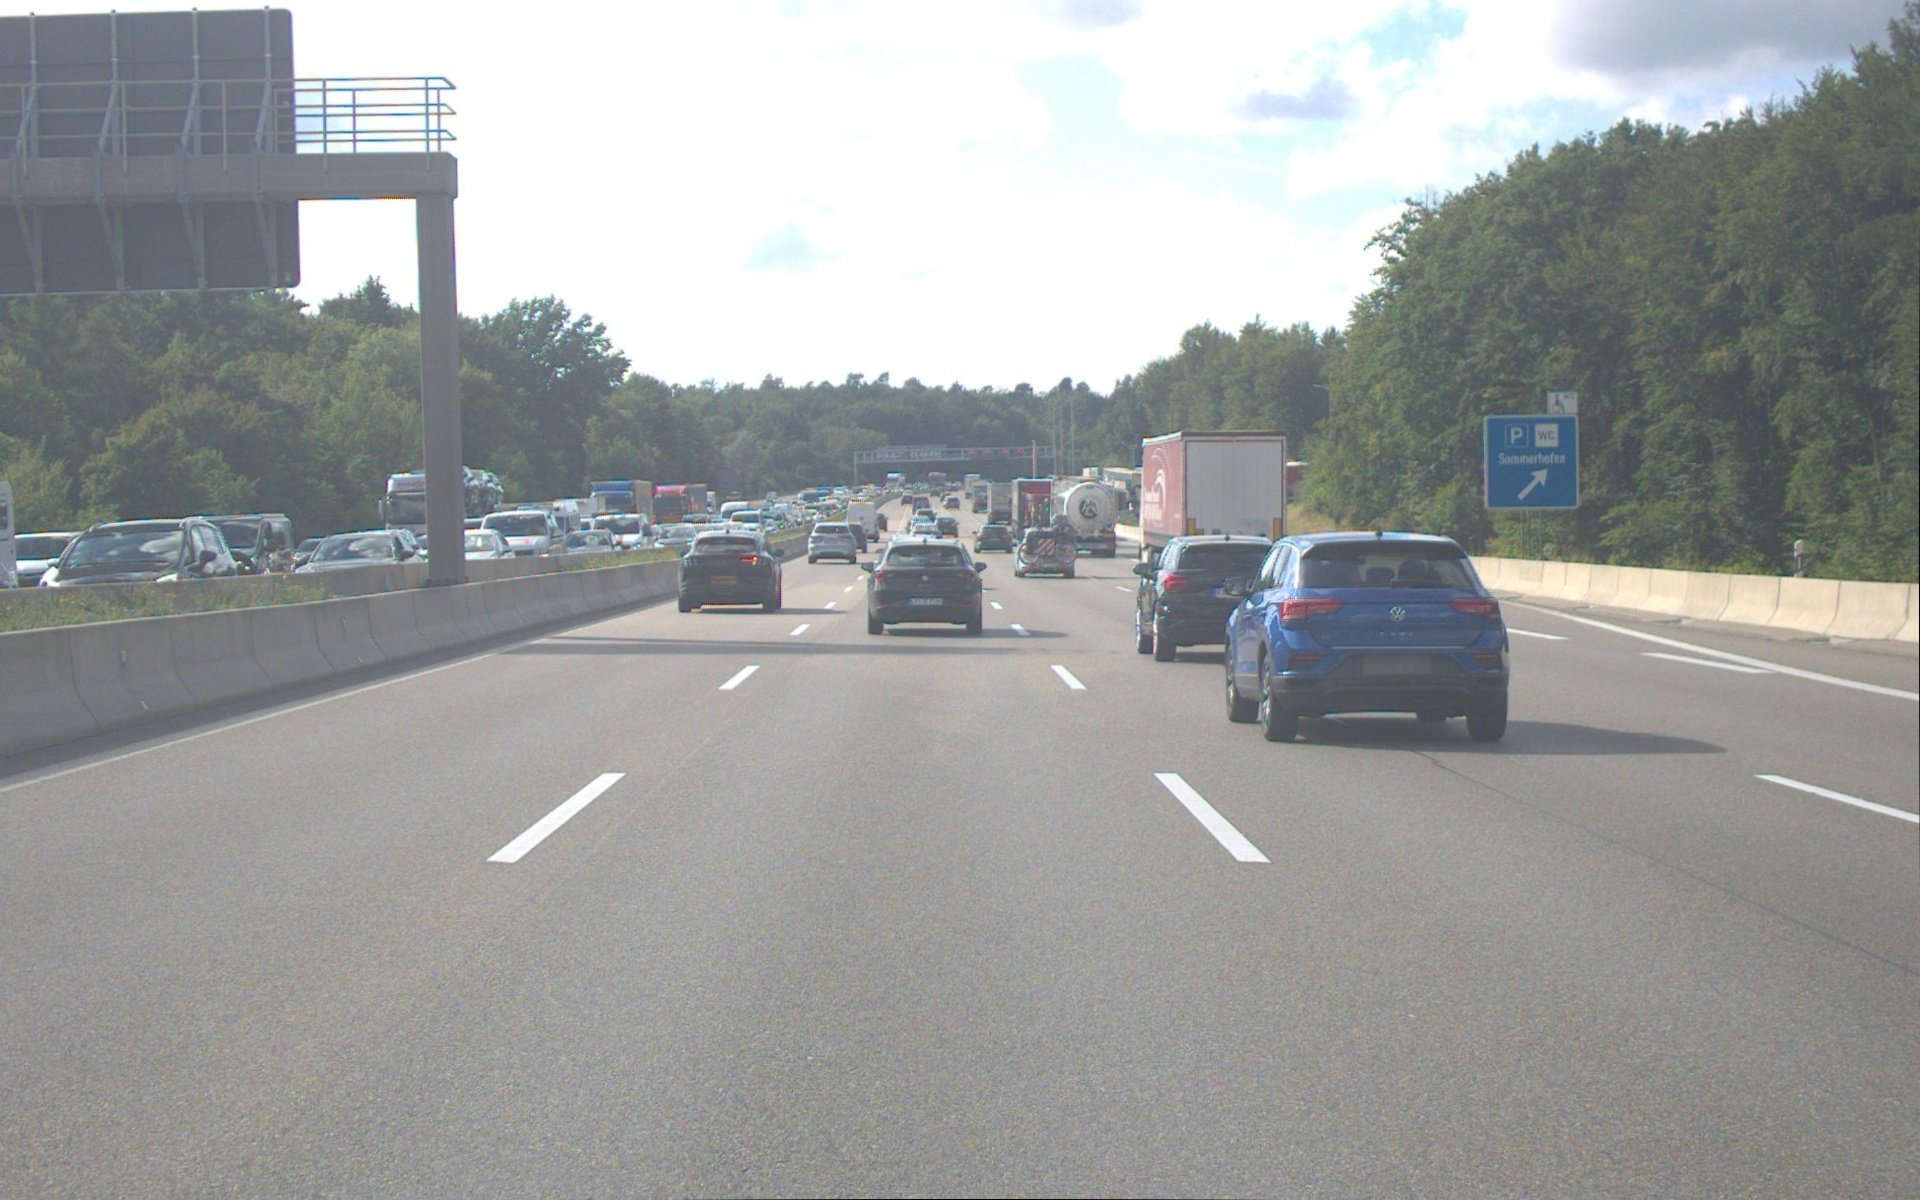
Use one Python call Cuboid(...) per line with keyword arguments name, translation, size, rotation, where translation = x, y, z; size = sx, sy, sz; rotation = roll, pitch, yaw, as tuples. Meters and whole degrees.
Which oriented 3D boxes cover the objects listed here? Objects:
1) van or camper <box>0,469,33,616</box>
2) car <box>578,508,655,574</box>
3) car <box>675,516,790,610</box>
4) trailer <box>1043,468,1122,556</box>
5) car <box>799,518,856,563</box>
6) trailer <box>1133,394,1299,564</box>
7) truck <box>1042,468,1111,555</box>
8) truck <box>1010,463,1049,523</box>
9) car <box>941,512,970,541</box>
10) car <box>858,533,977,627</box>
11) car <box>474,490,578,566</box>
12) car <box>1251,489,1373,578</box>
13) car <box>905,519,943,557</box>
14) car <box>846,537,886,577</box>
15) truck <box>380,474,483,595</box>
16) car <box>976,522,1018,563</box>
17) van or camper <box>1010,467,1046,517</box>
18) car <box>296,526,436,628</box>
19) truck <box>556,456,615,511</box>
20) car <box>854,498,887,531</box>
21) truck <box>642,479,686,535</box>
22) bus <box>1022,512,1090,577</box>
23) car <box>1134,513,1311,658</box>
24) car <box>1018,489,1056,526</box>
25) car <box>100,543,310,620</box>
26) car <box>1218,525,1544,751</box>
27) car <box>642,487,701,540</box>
Cuboid(name="van or camper", translation=(-18.308, -1.023, 59.899), size=(2.325, 2.634, 7.397), rotation=(1, 0, 0))
Cuboid(name="car", translation=(-11.178, -1.901, 112.109), size=(1.993, 2.093, 5.278), rotation=(1, 0, 0))
Cuboid(name="car", translation=(-4.415, -0.744, 67.204), size=(1.993, 1.770, 4.000), rotation=(1, 1, 0))
Cuboid(name="trailer", translation=(5.751, -4.094, 162.901), size=(3.036, 4.002, 12.246), rotation=(0, 1, -1))
Cuboid(name="car", translation=(-5.356, -2.406, 139.321), size=(2.154, 1.770, 4.000), rotation=(1, 1, 0))
Cuboid(name="trailer", translation=(6.514, -2.984, 89.678), size=(3.038, 4.021, 13.891), rotation=(1, 0, -1))
Cuboid(name="truck", translation=(5.663, -4.306, 168.586), size=(3.045, 4.146, 7.127), rotation=(0, 1, -1))
Cuboid(name="truck", translation=(4.459, -6.872, 221.925), size=(2.358, 3.560, 11.266), rotation=(1, 0, 1))
Cuboid(name="car", translation=(-0.307, -5.281, 245.130), size=(1.993, 2.007, 4.000), rotation=(1, 2, -1))
Cuboid(name="car", translation=(-0.688, -0.333, 52.930), size=(1.734, 1.360, 4.000), rotation=(1, 1, -2))
Cuboid(name="car", translation=(-10.640, -1.739, 84.550), size=(2.086, 1.795, 4.179), rotation=(1, 0, -1))
Cuboid(name="car", translation=(6.207, -1.179, 61.064), size=(1.715, 1.506, 4.302), rotation=(-1, 1, 0))
Cuboid(name="car", translation=(-1.991, -3.413, 188.868), size=(1.993, 2.007, 4.000), rotation=(-1, 0, -1))
Cuboid(name="car", translation=(-4.814, -2.197, 175.869), size=(1.993, 2.007, 4.000), rotation=(1, 0, -1))
Cuboid(name="truck", translation=(-19.022, -2.382, 124.019), size=(2.853, 4.219, 5.713), rotation=(1, 1, 0))
Cuboid(name="car", translation=(1.859, -2.935, 174.211), size=(1.993, 2.007, 4.000), rotation=(1, 1, -1))
Cuboid(name="van or camper", translation=(4.499, -7.165, 228.268), size=(2.351, 3.133, 5.710), rotation=(1, 0, 1))
Cuboid(name="car", translation=(-10.908, -0.463, 63.441), size=(1.767, 1.792, 4.939), rotation=(1, 1, -1))
Cuboid(name="truck", translation=(-19.775, -6.126, 182.016), size=(2.328, 2.792, 7.950), rotation=(2, 2, -1))
Cuboid(name="car", translation=(-5.595, -5.389, 216.140), size=(1.993, 2.007, 4.000), rotation=(1, 2, -1))
Cuboid(name="truck", translation=(-21.041, -6.623, 244.613), size=(2.775, 3.924, 6.854), rotation=(1, 2, -2))
Cuboid(name="bus", translation=(3.013, -1.737, 108.369), size=(1.993, 2.007, 4.000), rotation=(1, 0, 0))
Cuboid(name="car", translation=(3.126, -0.204, 41.665), size=(1.799, 1.638, 4.000), rotation=(1, 1, 0))
Cuboid(name="car", translation=(4.407, -5.267, 196.199), size=(1.993, 2.007, 4.000), rotation=(1, 0, -1))
Cuboid(name="car", translation=(-10.023, -0.279, 46.015), size=(1.667, 0.924, 5.464), rotation=(1, 1, -1))
Cuboid(name="car", translation=(3.159, 0.220, 26.712), size=(1.924, 1.536, 4.646), rotation=(2, 1, 0))
Cuboid(name="car", translation=(-11.498, -3.451, 137.397), size=(1.993, 2.007, 4.410), rotation=(-1, 0, 0))
